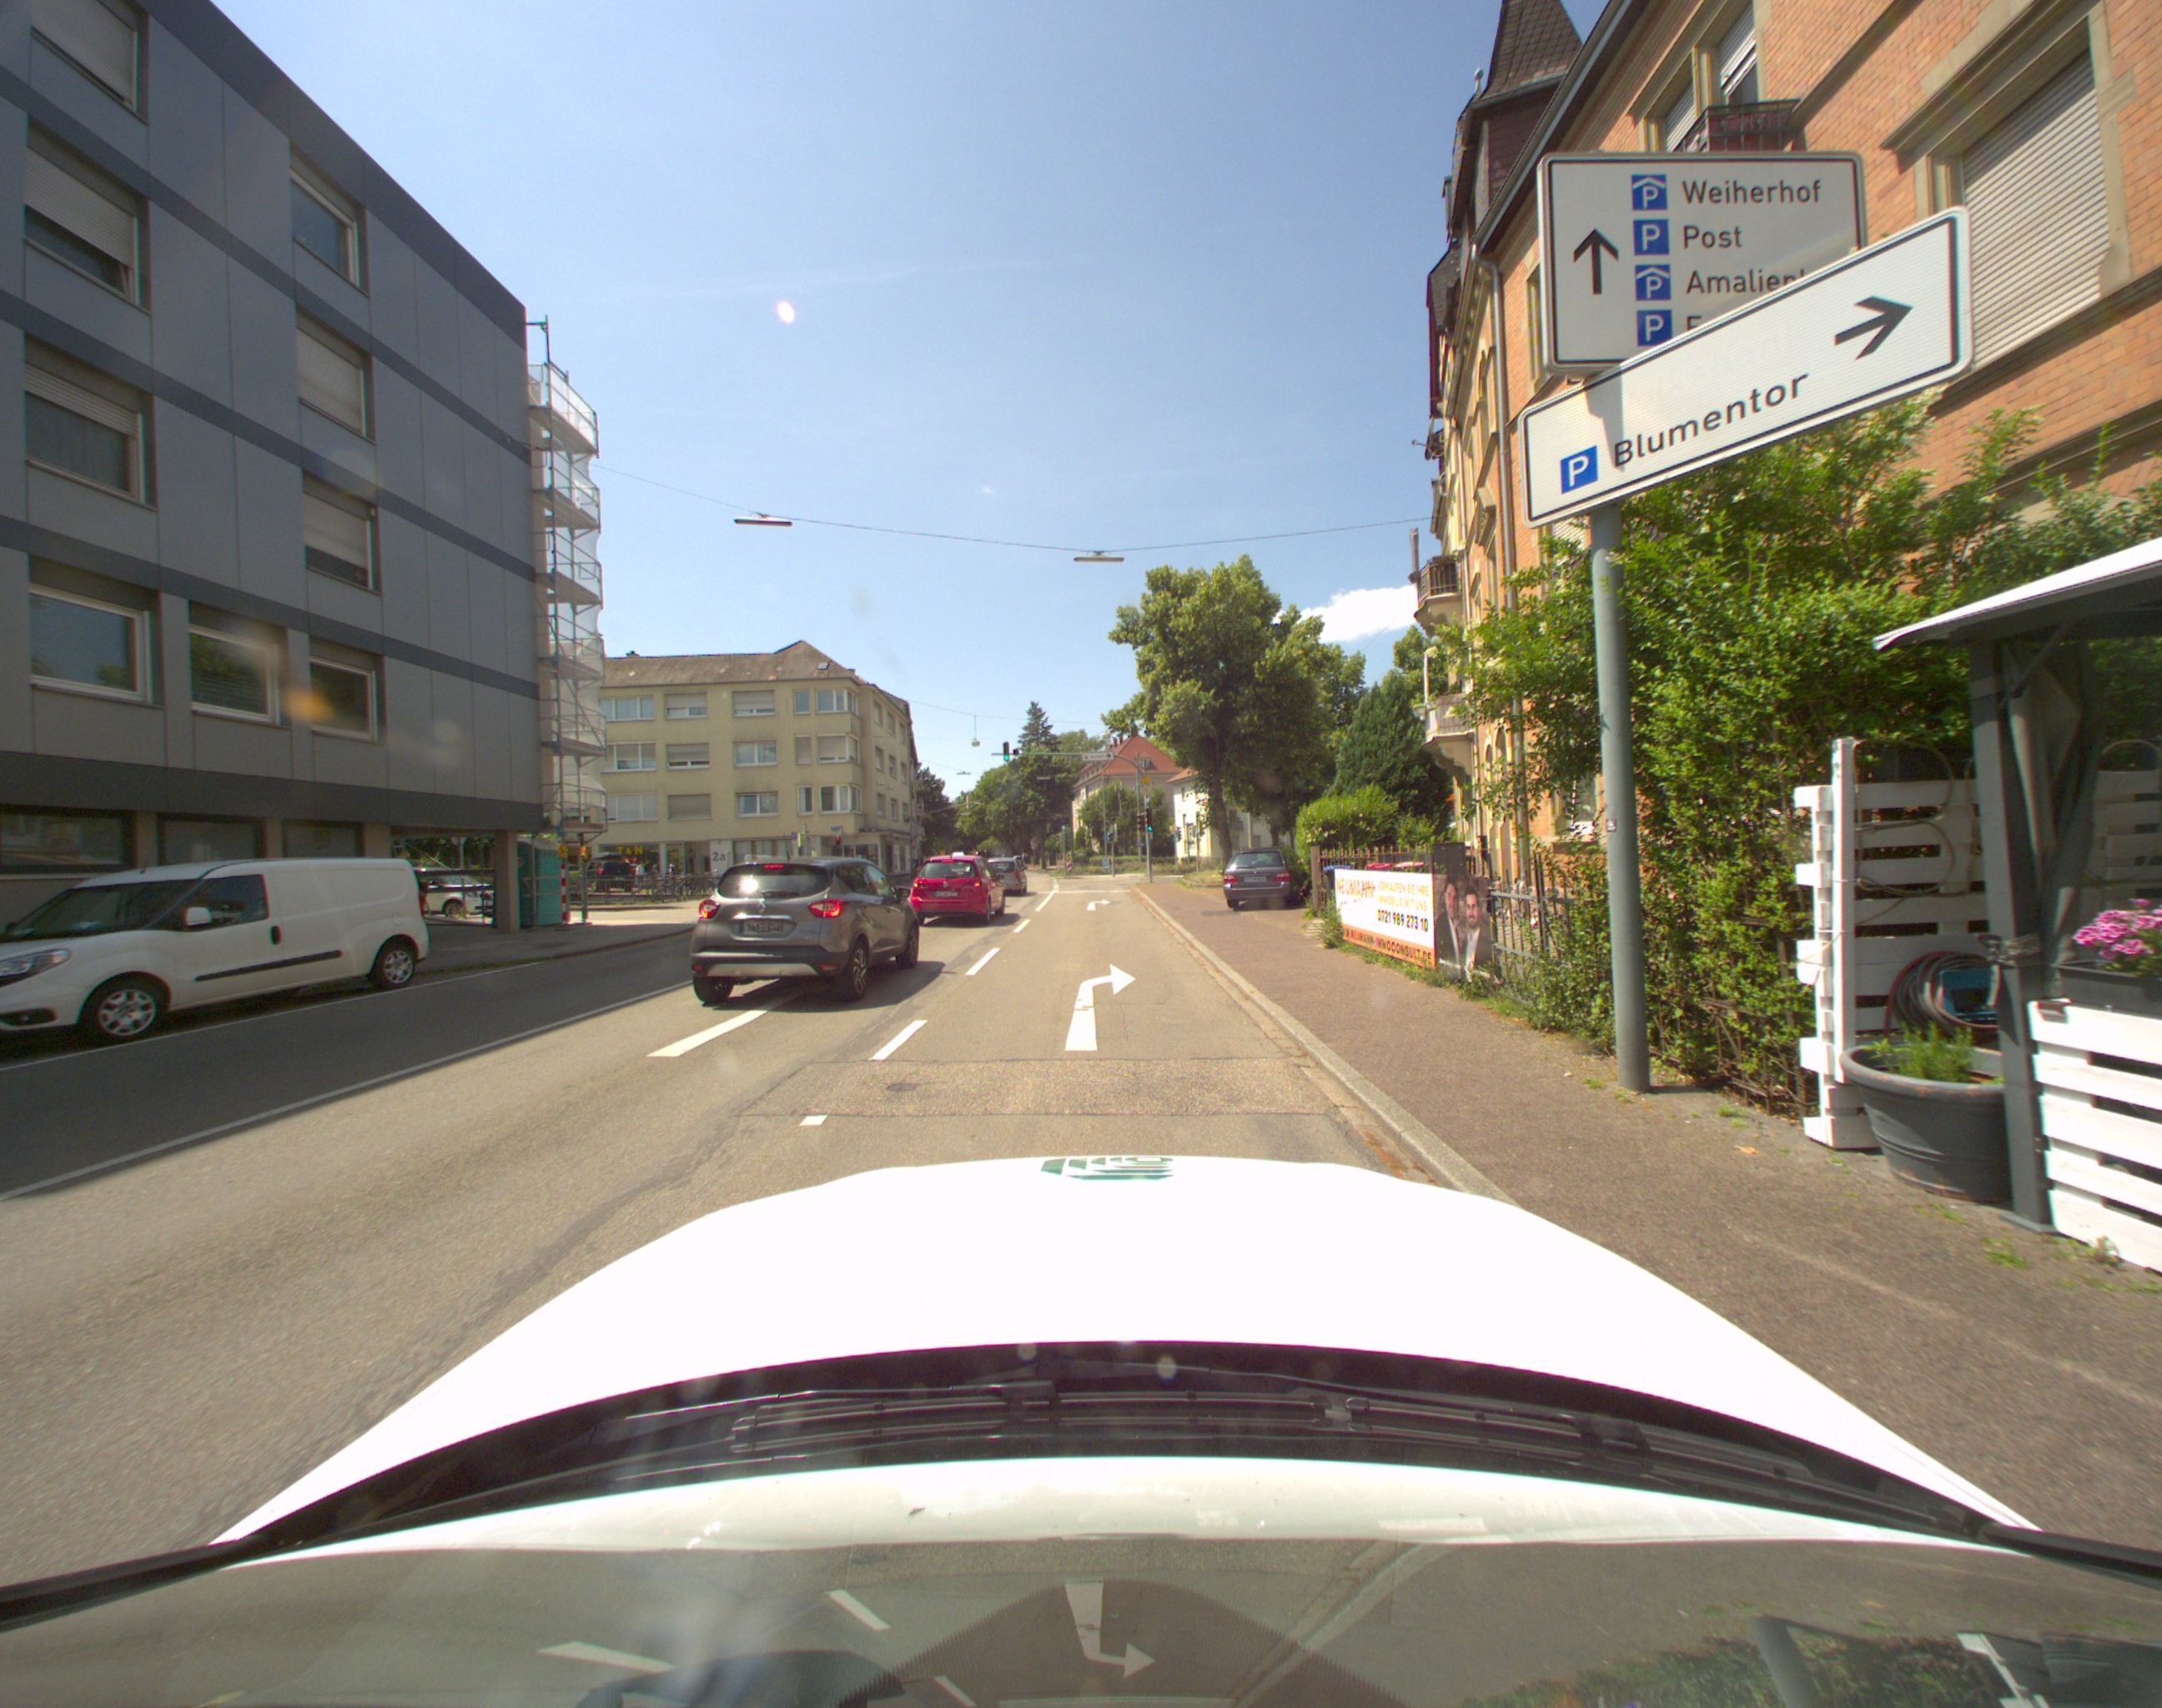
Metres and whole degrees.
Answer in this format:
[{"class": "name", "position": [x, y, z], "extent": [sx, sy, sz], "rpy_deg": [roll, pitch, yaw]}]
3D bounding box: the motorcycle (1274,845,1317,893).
[{"class": "motorcycle", "position": [6.665, 0.437, 25.181], "extent": [0.922, 1.302, 2.293], "rpy_deg": [-3, 1, 22]}]

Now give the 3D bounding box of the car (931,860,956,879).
[{"class": "car", "position": [-12.198, 1.383, 72.209], "extent": [1.995, 1.519, 3.982], "rpy_deg": [-1, -1, -13]}]

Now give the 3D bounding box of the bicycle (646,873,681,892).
[{"class": "bicycle", "position": [-24.182, 1.668, 47.165], "extent": [1.732, 1.026, 0.498], "rpy_deg": [-2, 0, -1]}]

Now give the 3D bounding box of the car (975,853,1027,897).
[{"class": "car", "position": [-3.101, 0.792, 32.252], "extent": [1.795, 1.558, 4.033], "rpy_deg": [-2, 0, -3]}]

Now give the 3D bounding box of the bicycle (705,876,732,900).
[{"class": "bicycle", "position": [-15.665, 1.467, 35.220], "extent": [0.396, 0.967, 1.781], "rpy_deg": [-2, 0, -3]}]

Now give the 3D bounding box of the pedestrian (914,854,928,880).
[{"class": "pedestrian", "position": [-12.333, 1.021, 62.806], "extent": [0.935, 1.931, 0.973], "rpy_deg": [-2, -1, -11]}]

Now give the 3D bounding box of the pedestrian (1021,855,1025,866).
[{"class": "pedestrian", "position": [-9.009, 1.012, 126.518], "extent": [0.508, 1.656, 0.465], "rpy_deg": [-2, 0, -7]}]

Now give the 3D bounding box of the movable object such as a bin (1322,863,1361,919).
[{"class": "movable object such as a bin", "position": [5.239, 0.732, 16.426], "extent": [0.645, 1.071, 0.639], "rpy_deg": [-2, 0, 11]}]

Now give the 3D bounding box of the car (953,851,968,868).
[{"class": "car", "position": [-19.927, 0.889, 134.349], "extent": [2.216, 2.501, 7.531], "rpy_deg": [-6, 0, -9]}]

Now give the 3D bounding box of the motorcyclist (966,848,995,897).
[{"class": "motorcyclist", "position": [-3.044, 0.547, 24.847], "extent": [0.709, 1.445, 1.019], "rpy_deg": [-2, 0, -1]}]

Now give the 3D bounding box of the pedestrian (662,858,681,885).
[{"class": "pedestrian", "position": [-22.860, 0.967, 45.475], "extent": [0.683, 1.475, 0.648], "rpy_deg": [-2, 0, 1]}]

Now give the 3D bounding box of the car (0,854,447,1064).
[{"class": "car", "position": [-10.274, 0.997, 9.510], "extent": [1.908, 1.825, 4.787], "rpy_deg": [-4, -1, -1]}]

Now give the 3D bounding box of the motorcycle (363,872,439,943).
[{"class": "motorcycle", "position": [-15.184, 1.173, 18.172], "extent": [2.016, 1.471, 0.887], "rpy_deg": [-2, -1, 38]}]

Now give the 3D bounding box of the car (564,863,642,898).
[{"class": "car", "position": [-24.935, 1.400, 42.434], "extent": [4.273, 1.664, 2.013], "rpy_deg": [-3, 0, 38]}]

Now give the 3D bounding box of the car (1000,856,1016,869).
[{"class": "car", "position": [-11.324, 1.275, 125.907], "extent": [1.995, 1.906, 3.984], "rpy_deg": [-2, 0, -12]}]

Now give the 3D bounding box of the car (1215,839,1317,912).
[{"class": "car", "position": [5.039, 0.473, 21.587], "extent": [1.818, 1.548, 5.184], "rpy_deg": [-3, 1, 21]}]

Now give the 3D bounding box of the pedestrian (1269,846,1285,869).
[{"class": "pedestrian", "position": [14.855, 0.300, 61.861], "extent": [0.840, 1.705, 0.756], "rpy_deg": [-2, -1, -27]}]

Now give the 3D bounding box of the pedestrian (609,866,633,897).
[{"class": "pedestrian", "position": [-25.680, 1.528, 45.491], "extent": [0.798, 1.632, 0.823], "rpy_deg": [-2, 0, 1]}]

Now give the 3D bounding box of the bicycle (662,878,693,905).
[{"class": "bicycle", "position": [-15.469, 1.419, 31.235], "extent": [0.396, 0.967, 1.716], "rpy_deg": [-2, 0, -3]}]

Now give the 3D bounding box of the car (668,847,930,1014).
[{"class": "car", "position": [-3.223, 0.773, 10.239], "extent": [1.747, 1.632, 4.002], "rpy_deg": [-2, 0, 2]}]

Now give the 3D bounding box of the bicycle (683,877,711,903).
[{"class": "bicycle", "position": [-15.604, 1.437, 33.105], "extent": [0.396, 0.967, 1.744], "rpy_deg": [-2, 0, -3]}]

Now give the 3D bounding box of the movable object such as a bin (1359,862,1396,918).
[{"class": "movable object such as a bin", "position": [5.922, 0.711, 16.298], "extent": [0.548, 1.071, 0.707], "rpy_deg": [-2, 0, 10]}]

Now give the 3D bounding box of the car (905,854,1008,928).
[{"class": "car", "position": [-2.888, 0.819, 19.765], "extent": [1.793, 1.558, 4.037], "rpy_deg": [-2, 0, 1]}]

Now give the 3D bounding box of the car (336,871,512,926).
[{"class": "car", "position": [-19.624, 1.299, 24.456], "extent": [3.719, 1.447, 1.756], "rpy_deg": [-1, 0, -3]}]

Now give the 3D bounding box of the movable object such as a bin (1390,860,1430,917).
[{"class": "movable object such as a bin", "position": [6.501, 0.667, 16.124], "extent": [0.572, 1.071, 0.707], "rpy_deg": [-2, 0, 10]}]

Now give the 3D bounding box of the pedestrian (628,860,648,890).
[{"class": "pedestrian", "position": [-25.207, 1.181, 46.350], "extent": [0.683, 1.632, 0.648], "rpy_deg": [-2, 0, 1]}]

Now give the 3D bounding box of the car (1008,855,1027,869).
[{"class": "car", "position": [-8.811, 1.091, 112.716], "extent": [1.995, 1.807, 3.984], "rpy_deg": [-2, 0, -12]}]
